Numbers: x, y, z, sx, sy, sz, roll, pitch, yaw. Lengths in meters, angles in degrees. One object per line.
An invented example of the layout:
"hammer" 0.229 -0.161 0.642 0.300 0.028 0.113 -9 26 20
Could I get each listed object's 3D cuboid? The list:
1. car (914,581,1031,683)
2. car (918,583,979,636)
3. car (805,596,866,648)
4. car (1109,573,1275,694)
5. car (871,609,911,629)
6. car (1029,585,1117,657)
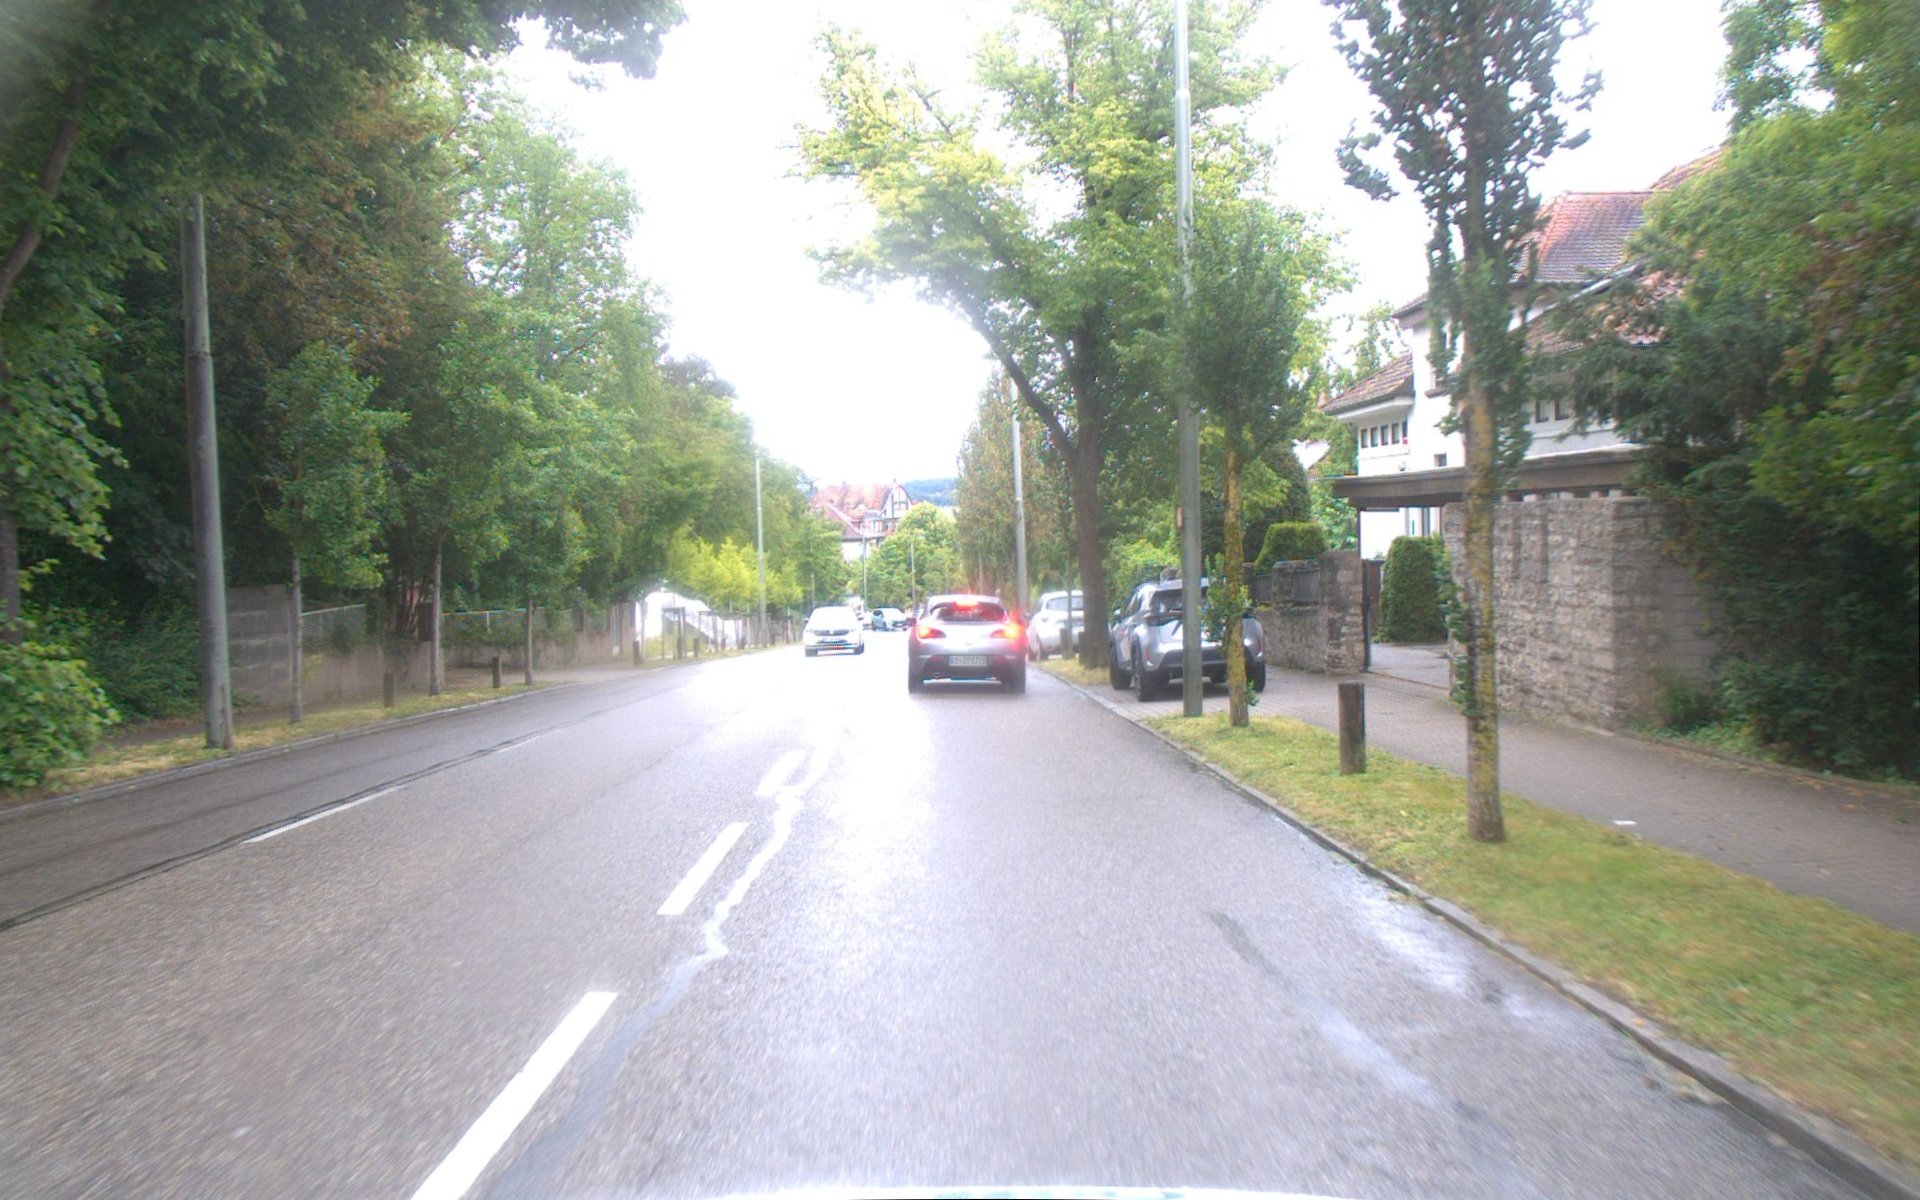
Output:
"car" 0.152 0.521 26.408 1.719 1.490 3.999 1 -1 -1
"car" -0.356 0.316 49.363 1.719 1.490 3.999 1 -1 -1
"car" -3.916 0.675 52.632 1.686 1.489 3.999 2 1 -1
"car" 3.195 0.403 23.450 1.686 1.489 4.000 -3 1 -1
"car" -5.421 1.451 129.186 1.699 1.490 3.968 2 -1 -25
"car" 2.586 0.445 38.597 1.686 1.489 4.000 -3 1 -1
